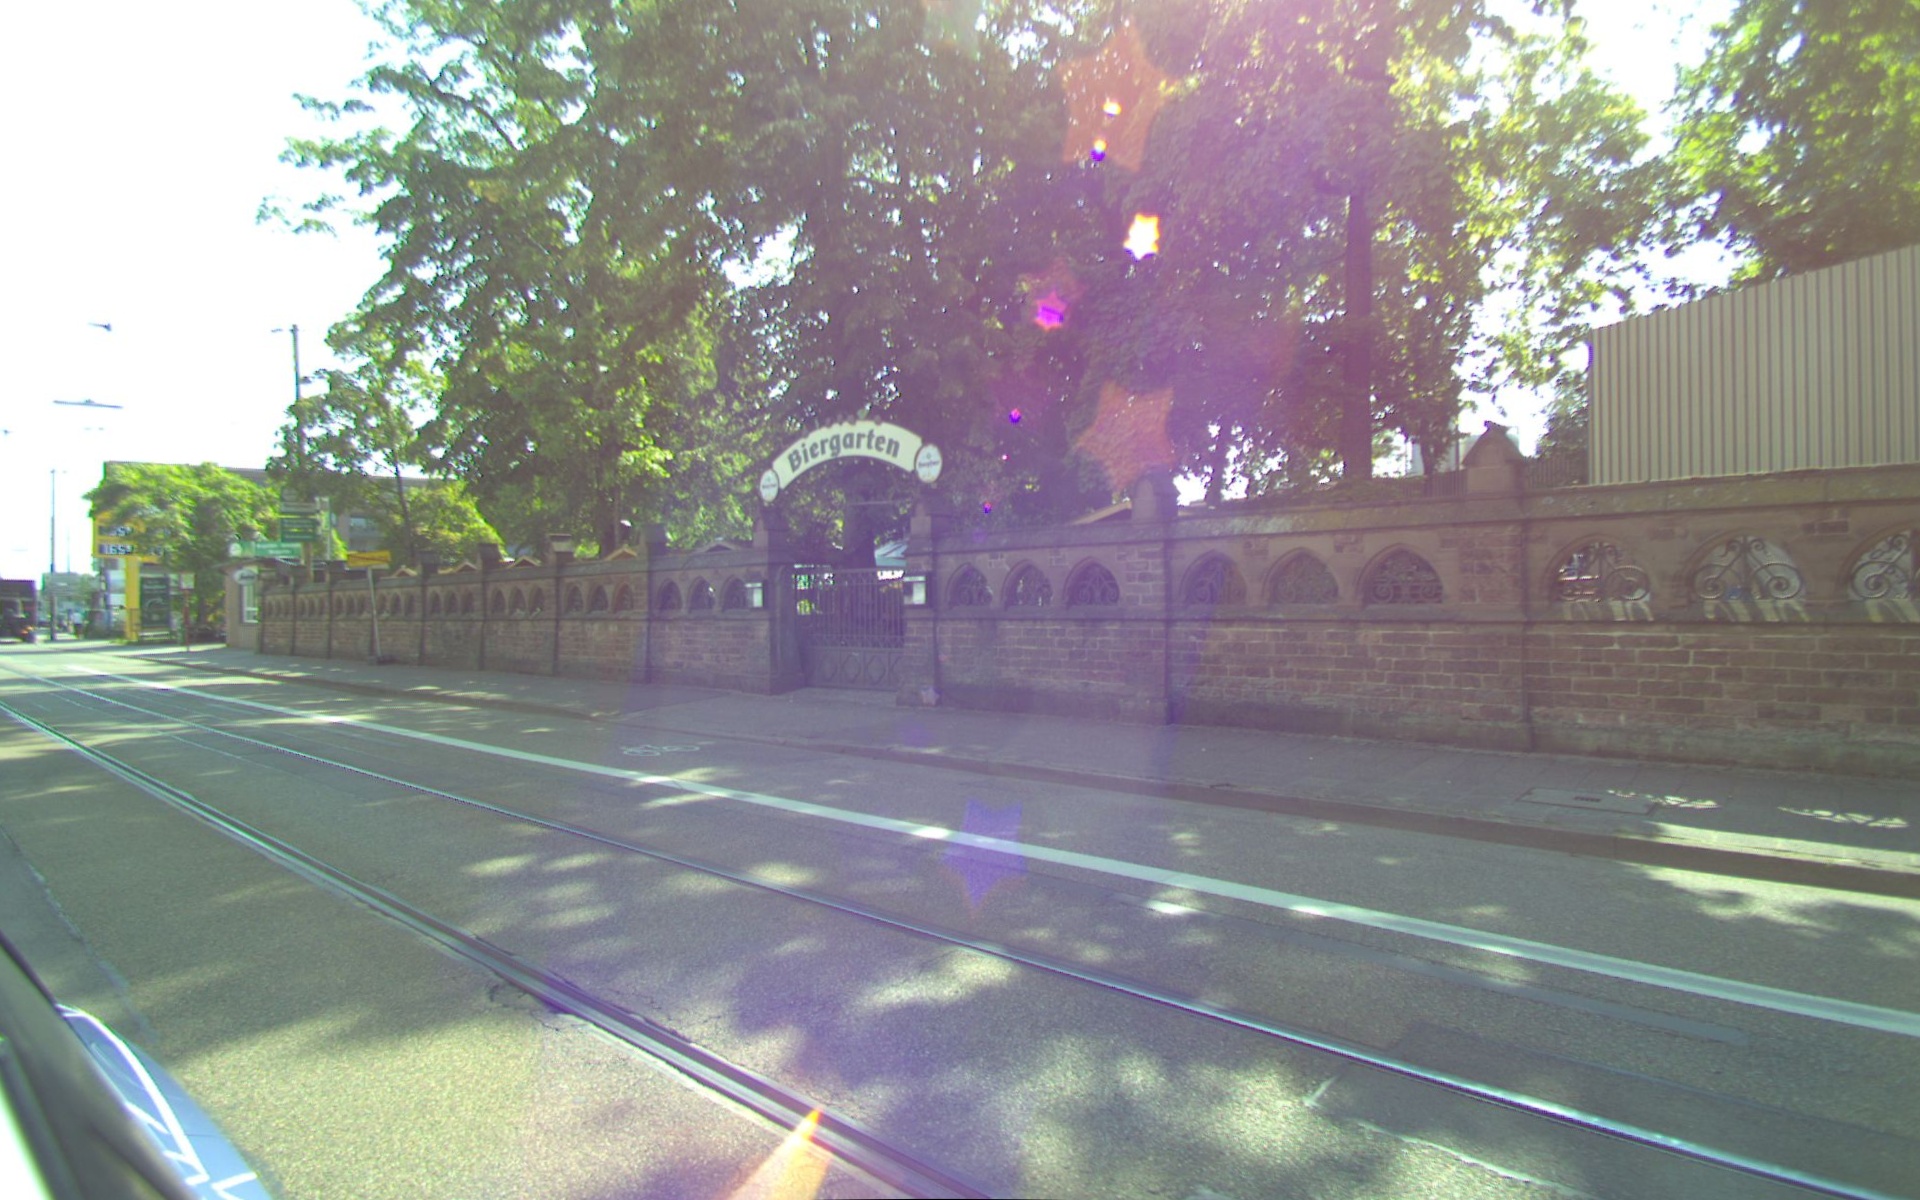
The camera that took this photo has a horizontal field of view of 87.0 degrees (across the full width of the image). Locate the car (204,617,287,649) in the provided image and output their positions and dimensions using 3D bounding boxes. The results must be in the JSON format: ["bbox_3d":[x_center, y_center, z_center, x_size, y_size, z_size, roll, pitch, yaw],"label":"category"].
[{"bbox_3d":[-35.573,1.613,50.557,1.905,1.472,4.540,-1,0,-15],"label":"car"}]

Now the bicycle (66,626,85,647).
[{"bbox_3d":[-56.517,2.320,64.660,0.775,1.249,2.038,-1,0,-38],"label":"bicycle"}]

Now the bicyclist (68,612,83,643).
[{"bbox_3d":[-56.509,1.768,64.639,0.633,1.944,1.178,-1,0,-38],"label":"bicyclist"}]

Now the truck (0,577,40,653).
[{"bbox_3d":[-61.764,0.978,65.582,3.127,4.487,16.860,-1,0,-42],"label":"truck"}]
